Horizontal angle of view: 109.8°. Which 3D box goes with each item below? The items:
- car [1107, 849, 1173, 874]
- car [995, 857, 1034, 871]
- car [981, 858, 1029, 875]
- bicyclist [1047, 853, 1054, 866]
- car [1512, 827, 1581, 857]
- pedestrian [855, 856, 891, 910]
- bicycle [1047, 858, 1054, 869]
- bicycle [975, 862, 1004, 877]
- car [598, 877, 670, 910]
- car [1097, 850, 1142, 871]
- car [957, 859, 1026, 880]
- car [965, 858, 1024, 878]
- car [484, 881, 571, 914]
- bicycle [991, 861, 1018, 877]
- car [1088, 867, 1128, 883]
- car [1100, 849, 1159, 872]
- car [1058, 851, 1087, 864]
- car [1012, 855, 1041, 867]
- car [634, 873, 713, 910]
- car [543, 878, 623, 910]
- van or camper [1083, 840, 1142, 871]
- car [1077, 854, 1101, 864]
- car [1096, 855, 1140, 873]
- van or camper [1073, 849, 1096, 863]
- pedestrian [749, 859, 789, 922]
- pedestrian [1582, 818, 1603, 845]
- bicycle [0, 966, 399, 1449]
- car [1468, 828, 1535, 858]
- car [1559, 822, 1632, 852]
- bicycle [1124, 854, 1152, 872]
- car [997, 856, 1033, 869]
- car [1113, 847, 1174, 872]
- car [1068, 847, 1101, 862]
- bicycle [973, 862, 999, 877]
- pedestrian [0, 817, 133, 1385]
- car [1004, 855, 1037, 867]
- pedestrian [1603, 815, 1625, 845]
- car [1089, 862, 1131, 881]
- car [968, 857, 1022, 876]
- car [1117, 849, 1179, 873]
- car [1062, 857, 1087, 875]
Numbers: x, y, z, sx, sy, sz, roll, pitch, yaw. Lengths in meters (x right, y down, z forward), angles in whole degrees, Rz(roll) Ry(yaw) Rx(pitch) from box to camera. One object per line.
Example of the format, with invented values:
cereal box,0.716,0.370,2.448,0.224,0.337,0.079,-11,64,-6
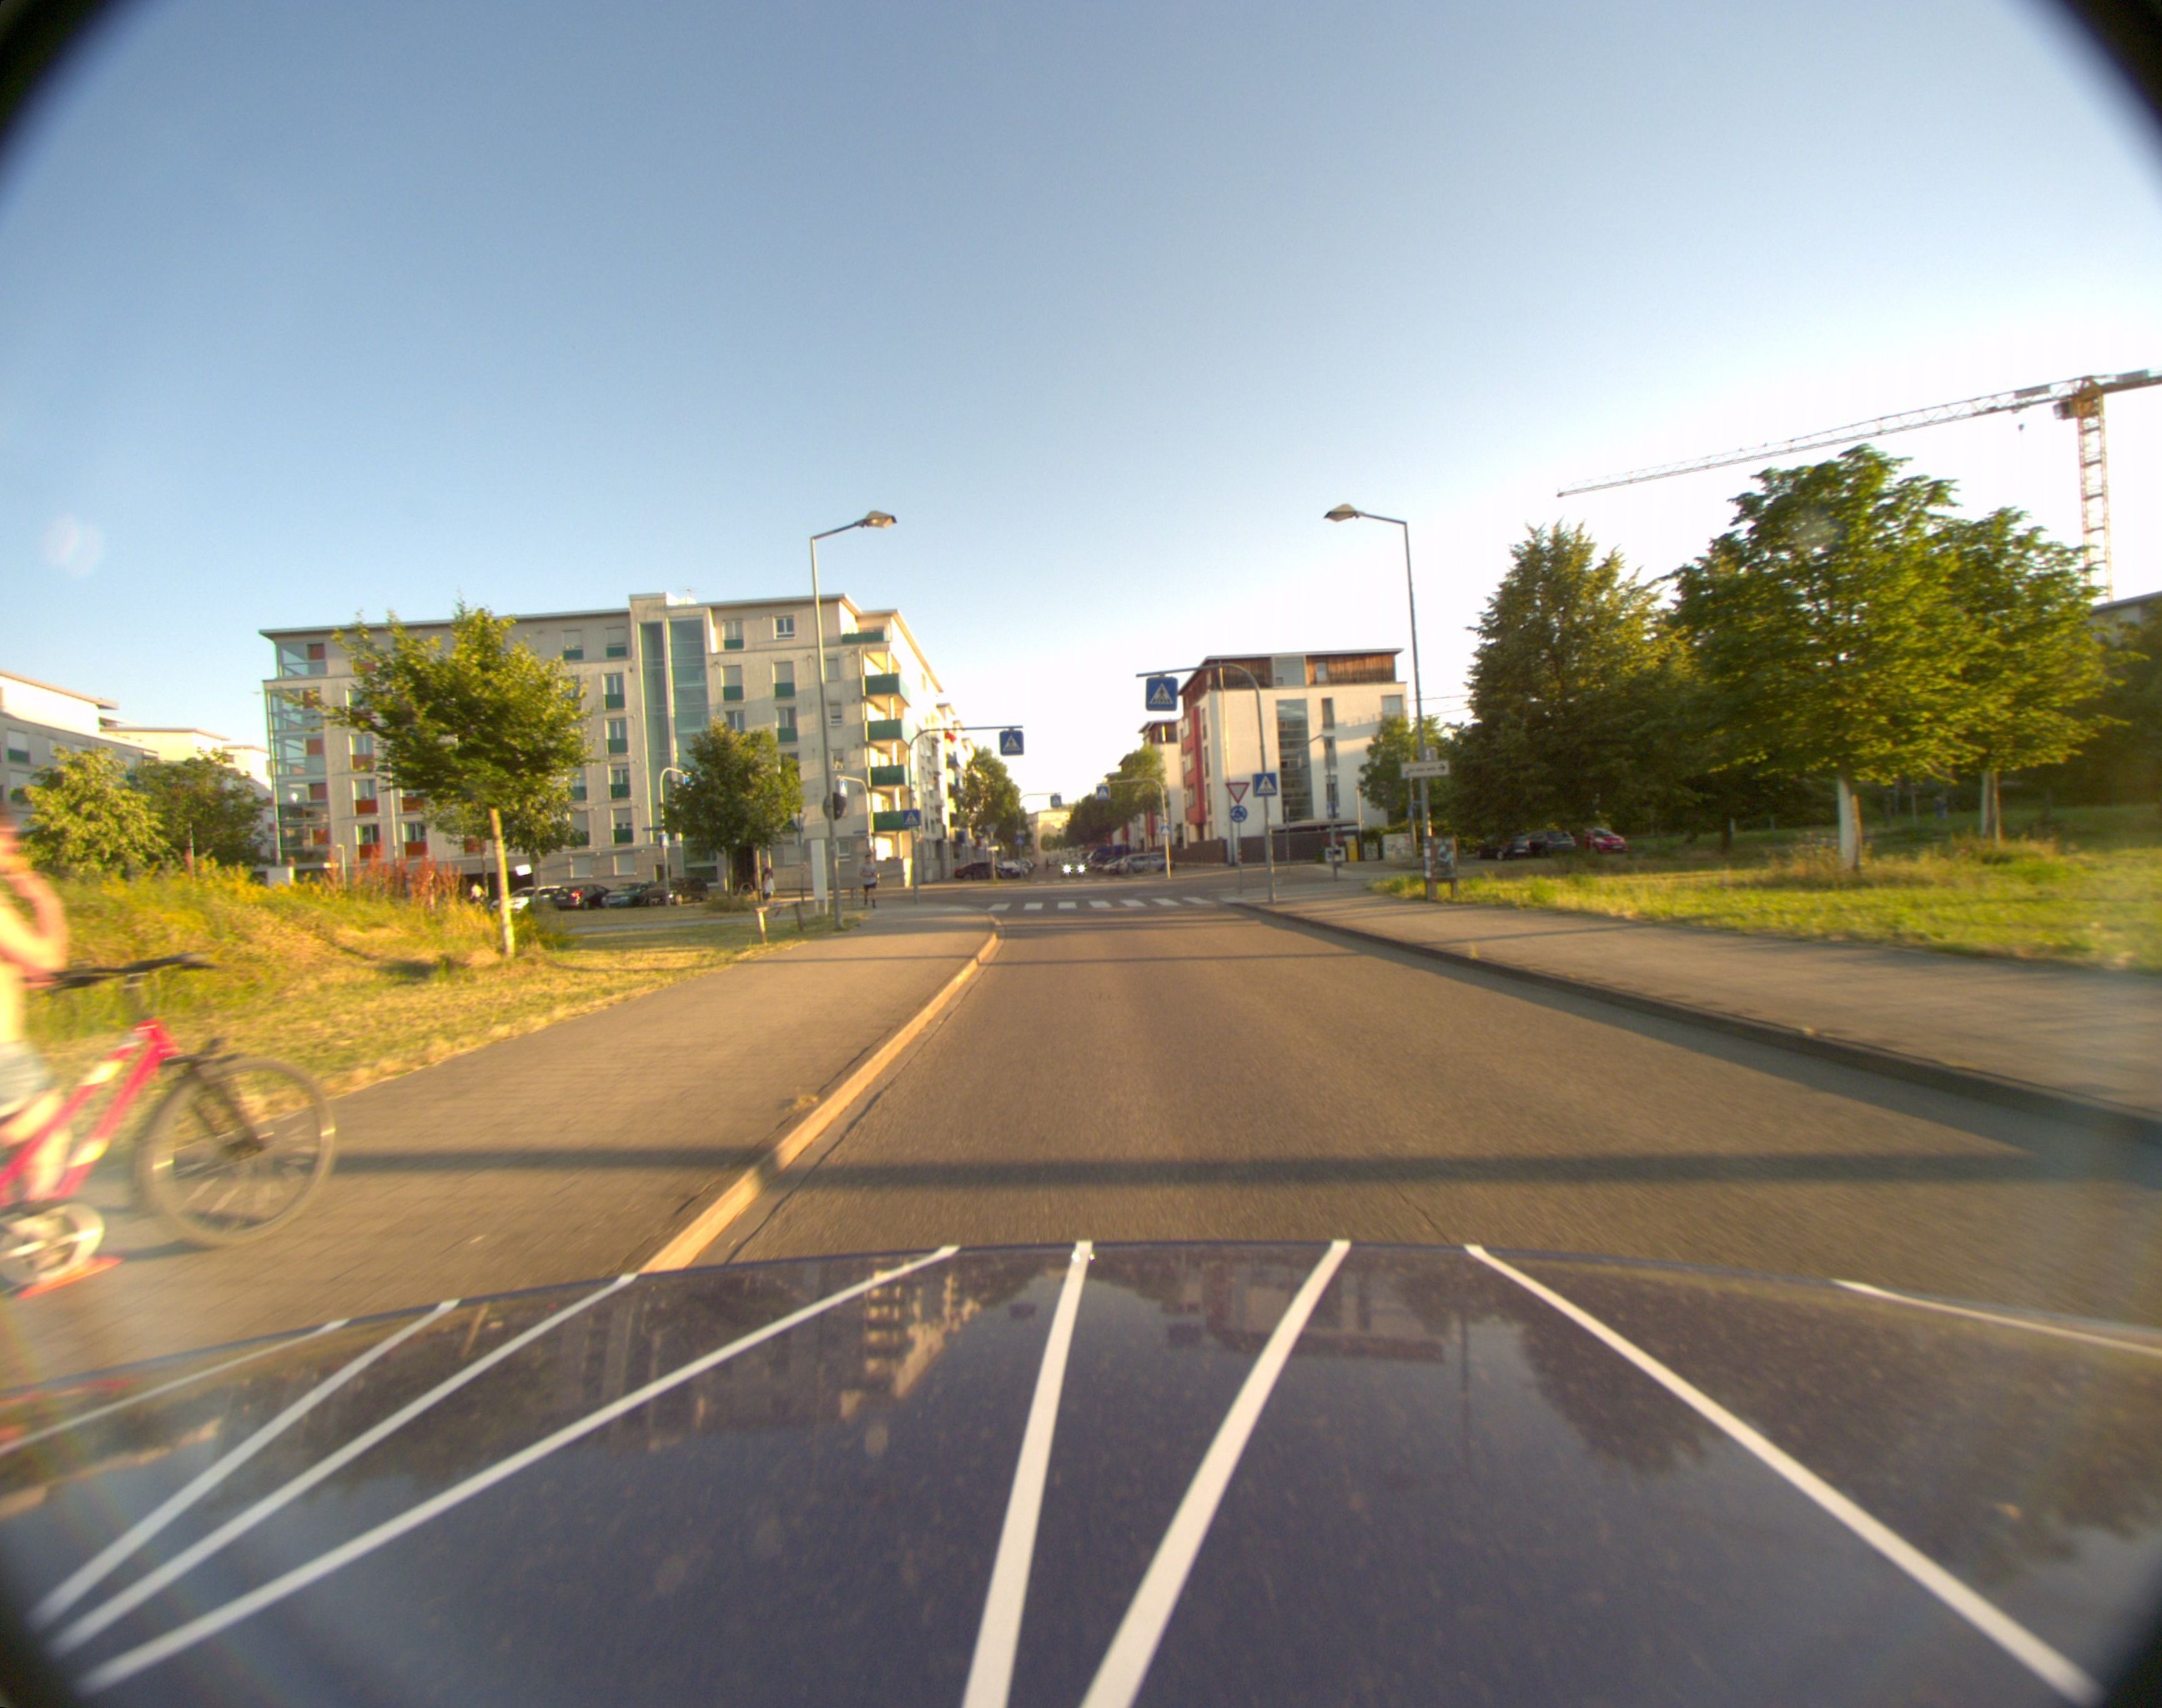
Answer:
car,4.620,0.567,59.791,4.916,1.469,1.710,-5,0,-5
car,-7.393,1.091,84.156,4.254,1.500,1.751,-1,0,-7
car,-6.917,1.134,69.212,4.295,1.499,1.685,-1,0,-6
bicyclist,-3.860,0.739,96.011,0.767,1.618,0.663,-4,0,-4
car,25.540,-0.669,41.796,1.593,1.492,3.410,-4,1,-1
pedestrian,-6.830,0.941,24.991,0.801,1.719,0.767,-4,0,5
bicycle,-3.844,1.182,96.108,0.772,1.259,1.781,-4,0,-4
bicycle,-6.577,1.076,54.500,2.035,1.040,0.473,-1,0,-7
car,-24.667,2.156,42.090,1.558,1.366,4.003,-4,2,-1
car,3.674,0.629,72.392,3.920,1.700,1.723,-4,0,-7
car,-6.633,1.138,56.438,4.887,1.449,1.938,-1,0,-1
car,-6.708,1.073,59.257,4.412,1.499,1.743,-1,0,0
car,-29.864,2.320,41.169,1.700,1.471,4.056,-4,0,-1
bicycle,-5.457,1.080,54.115,1.840,1.065,0.473,-1,0,-7
car,2.912,2.310,82.518,4.104,1.616,1.723,-1,0,-7
car,4.130,0.567,65.289,4.761,1.576,1.758,-5,0,-7
car,-1.249,0.497,112.874,4.252,1.919,1.692,-1,0,-4
car,-8.096,1.009,112.841,4.252,1.768,1.692,-1,0,-2
car,-22.043,1.976,41.344,1.832,1.479,4.478,-4,2,-1
car,-27.246,2.181,41.770,1.700,1.471,4.056,-4,0,-1
van or camper,3.559,0.183,87.905,6.316,3.069,2.441,-4,0,-7
car,1.368,0.853,134.947,4.252,1.776,1.692,-1,0,-2
car,3.613,0.956,74.641,3.920,1.506,1.723,-4,0,-7
van or camper,0.614,0.315,139.806,4.252,2.520,1.760,-1,0,-2
pedestrian,-9.162,1.059,22.321,0.734,1.774,0.802,-4,0,-2
pedestrian,31.417,-1.355,46.672,0.713,1.591,0.656,-5,1,-15
bicycle,-3.224,1.069,2.299,0.451,1.162,1.941,-4,0,2
car,23.185,-0.603,42.006,1.690,1.513,3.410,-4,1,-1
car,28.034,-0.919,41.488,1.593,1.492,3.410,-4,1,-1
bicycle,4.077,0.633,54.417,1.822,1.060,0.567,-7,0,-5
car,-8.162,1.023,93.826,4.252,1.527,1.692,-1,0,-2
car,5.133,0.444,62.493,4.785,1.546,1.711,-5,0,1
car,0.461,0.067,102.801,4.252,1.919,1.692,-1,0,-4
bicycle,-6.646,1.071,53.397,1.793,1.035,0.567,-1,0,-7
pedestrian,-3.749,0.791,2.307,0.596,1.791,0.818,-4,0,3
car,-7.935,0.966,99.849,4.252,1.527,1.692,-1,0,-2
pedestrian,31.246,-1.393,44.541,0.743,1.658,0.624,-5,1,-10
car,2.983,1.825,79.052,4.103,1.616,1.723,-4,0,-7
car,-6.962,1.040,62.053,4.295,1.485,1.742,-1,0,-3
car,5.011,0.535,57.124,4.292,1.449,1.680,-5,0,-5
car,-0.584,0.968,62.679,1.778,1.454,4.176,-1,0,-5
